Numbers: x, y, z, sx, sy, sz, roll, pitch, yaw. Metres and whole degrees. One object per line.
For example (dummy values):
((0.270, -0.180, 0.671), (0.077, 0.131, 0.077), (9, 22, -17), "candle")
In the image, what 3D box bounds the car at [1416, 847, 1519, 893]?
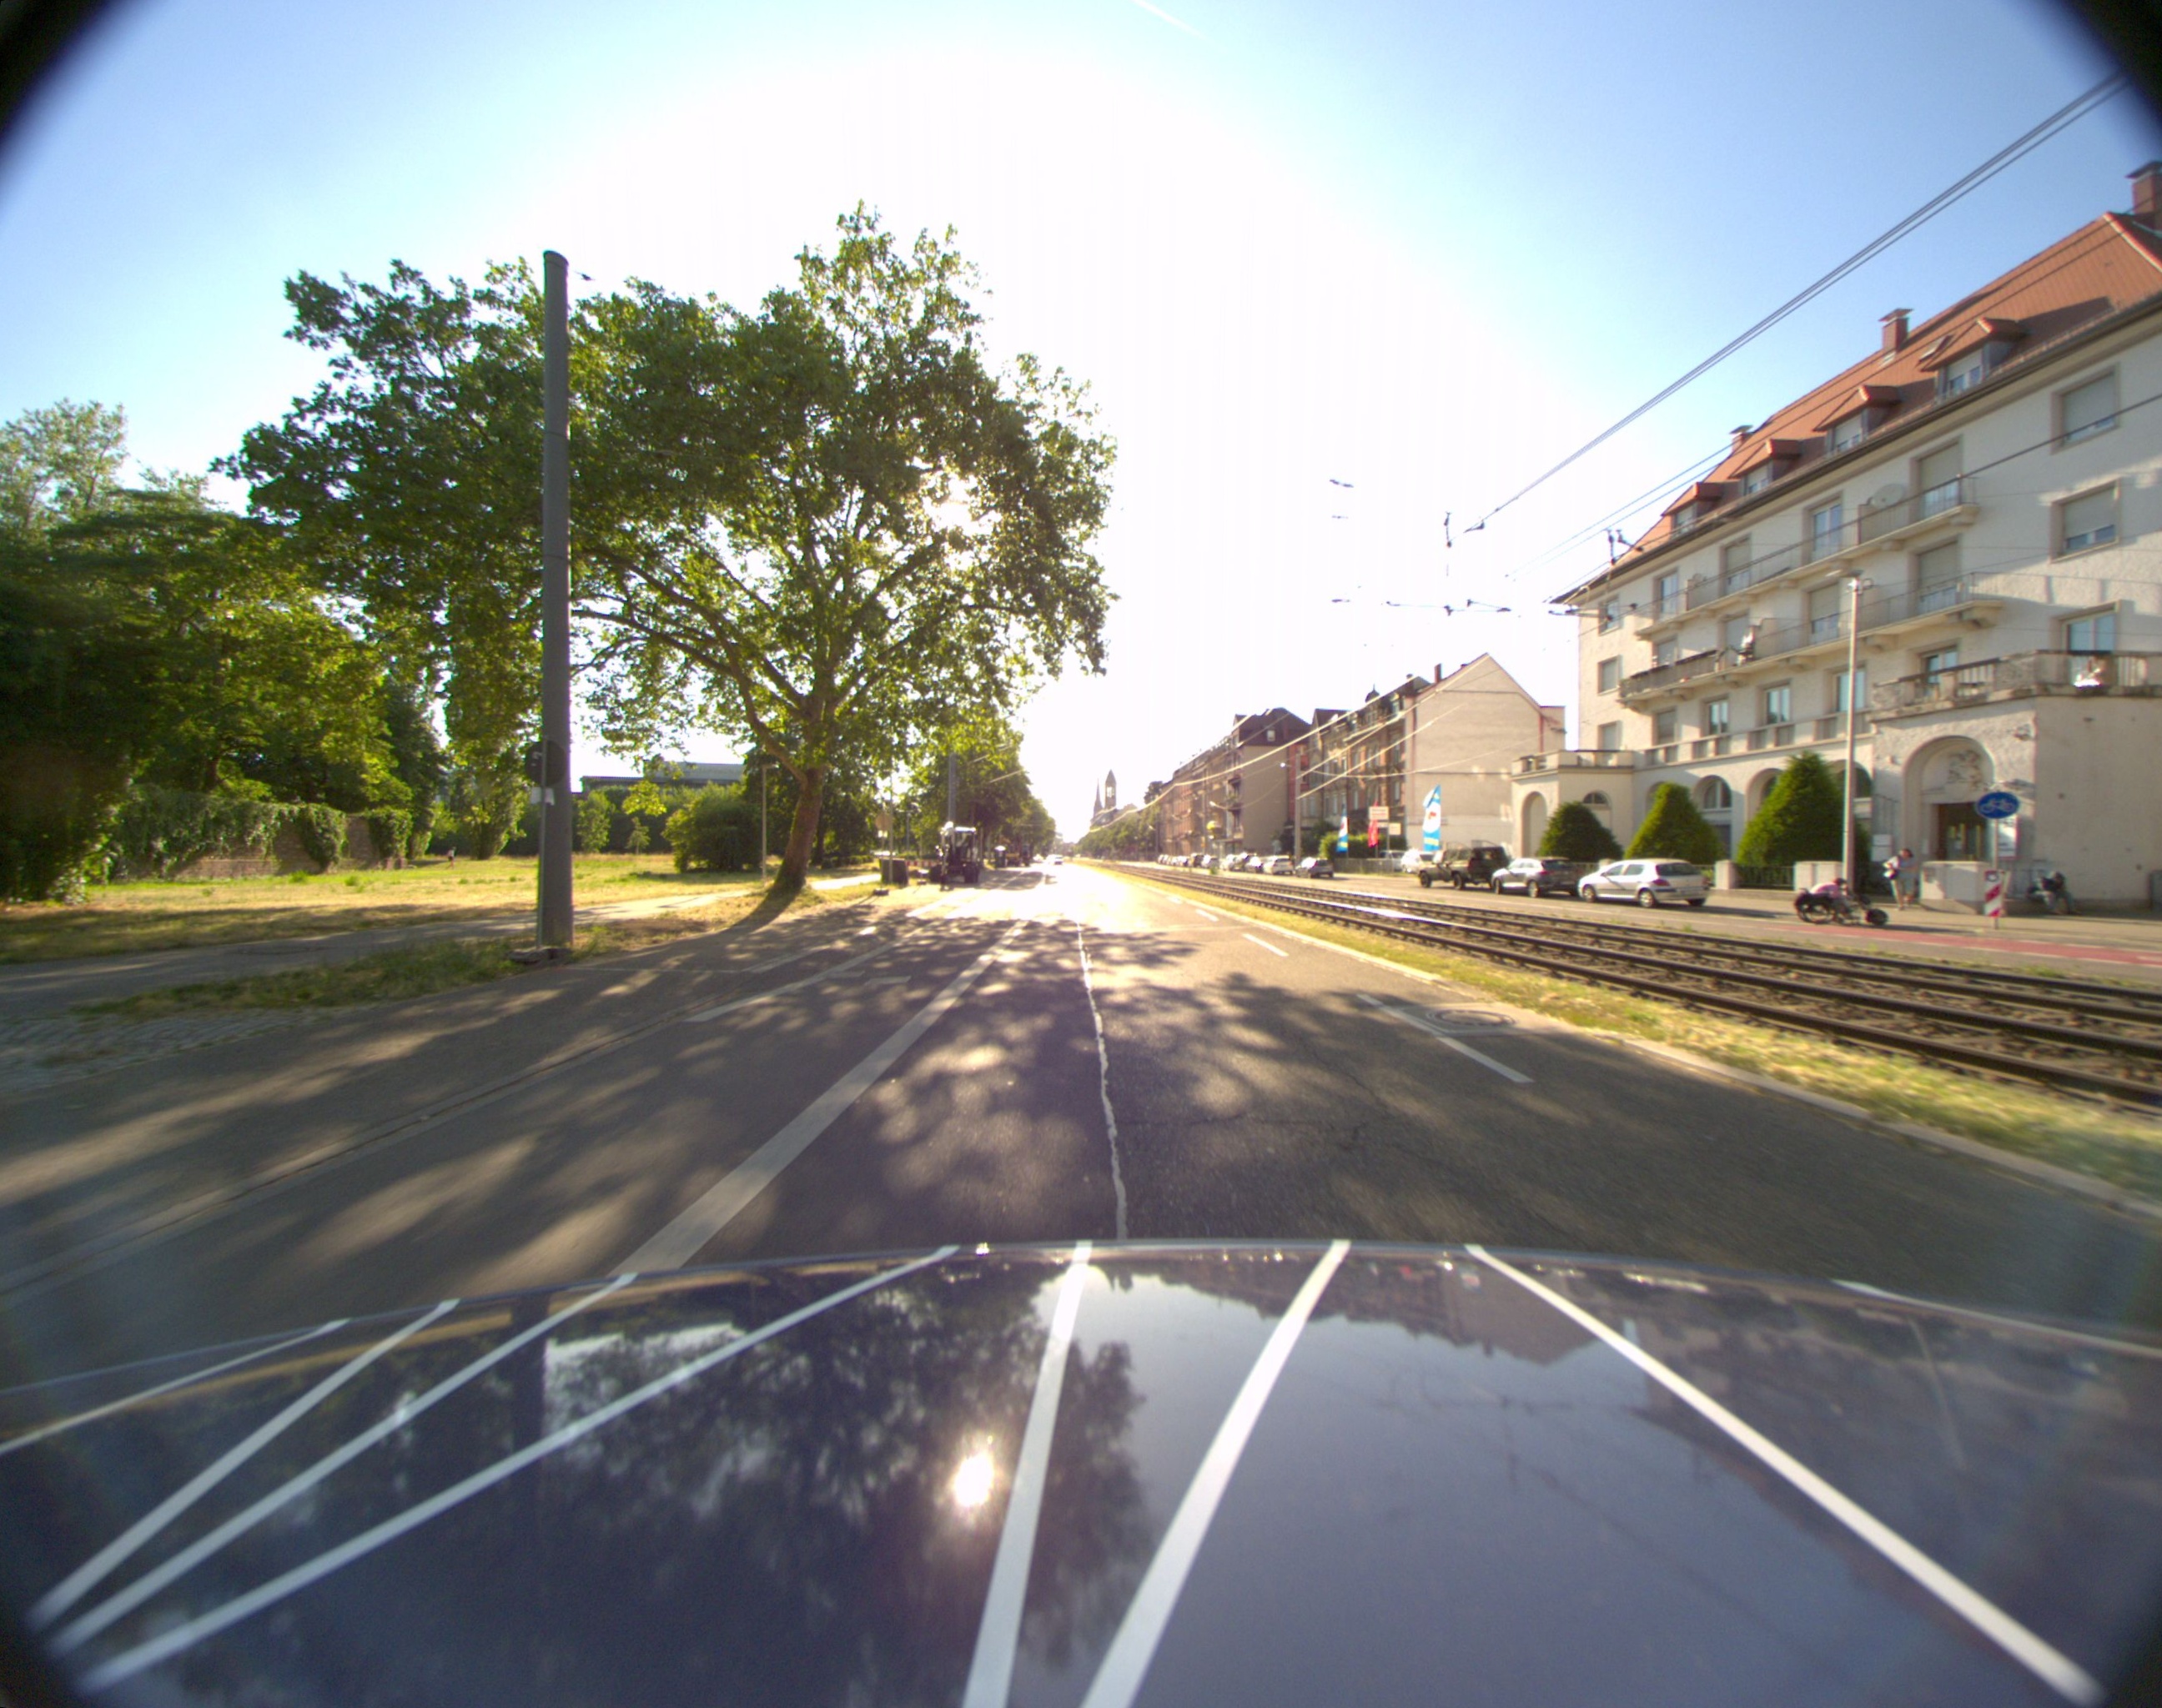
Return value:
((18.452, 0.700, 36.681), (2.082, 1.998, 5.591), (-1, 0, 0), "car")

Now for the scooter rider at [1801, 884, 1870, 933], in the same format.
((18.013, 1.278, 18.165), (0.976, 1.082, 0.810), (1, 0, 29), "scooter rider")

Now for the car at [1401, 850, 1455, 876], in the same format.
((24.849, 0.614, 54.587), (1.908, 1.646, 4.561), (1, 2, 2), "car")

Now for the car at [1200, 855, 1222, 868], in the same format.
((16.287, 0.904, 95.336), (1.926, 1.529, 4.626), (0, 0, -2), "car")

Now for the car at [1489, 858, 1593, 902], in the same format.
((18.251, 0.988, 30.372), (1.639, 1.498, 4.158), (-1, 1, 0), "car")

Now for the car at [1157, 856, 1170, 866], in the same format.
((14.469, 1.270, 132.809), (1.799, 1.633, 4.630), (-1, 0, 0), "car")

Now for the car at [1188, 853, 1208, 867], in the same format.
((15.671, 0.821, 101.793), (1.664, 1.797, 4.727), (-1, 0, -4), "car")

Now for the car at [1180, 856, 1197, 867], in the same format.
((15.148, 1.083, 107.440), (1.664, 1.437, 3.980), (-1, 0, -2), "car")

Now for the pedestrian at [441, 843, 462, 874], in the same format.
((-41.997, 0.293, 50.718), (0.868, 2.002, 1.266), (-2, 2, -33), "pedestrian")

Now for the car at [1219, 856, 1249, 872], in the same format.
((16.475, 1.111, 82.037), (1.926, 1.673, 4.626), (0, -2, -5), "car")

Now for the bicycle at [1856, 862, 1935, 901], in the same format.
((24.396, 0.805, 22.800), (0.465, 1.081, 1.623), (-2, 1, -10), "bicycle")

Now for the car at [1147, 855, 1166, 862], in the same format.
((17.529, 1.096, 175.689), (3.991, 1.502, 1.802), (-1, 1, 19), "car")

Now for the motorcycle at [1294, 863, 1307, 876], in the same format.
((17.539, 1.257, 60.853), (0.827, 0.948, 2.153), (-1, 1, 12), "motorcycle")

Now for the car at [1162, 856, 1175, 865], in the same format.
((14.696, 1.141, 128.019), (1.664, 1.437, 3.764), (-1, 0, -2), "car")

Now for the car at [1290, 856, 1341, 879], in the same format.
((17.274, 0.983, 56.161), (1.926, 1.452, 4.840), (-5, 0, -4), "car")

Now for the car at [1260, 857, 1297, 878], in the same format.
((16.967, 1.134, 65.482), (1.925, 1.684, 4.842), (-1, 0, 0), "car")

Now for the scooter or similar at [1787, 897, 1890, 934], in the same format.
((18.047, 1.455, 18.149), (1.565, 0.766, 0.810), (1, 0, 29), "scooter or similar")

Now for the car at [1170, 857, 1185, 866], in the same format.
((14.962, 1.155, 118.027), (1.664, 1.437, 3.980), (-1, 0, -2), "car")

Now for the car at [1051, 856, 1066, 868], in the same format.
((-3.003, 1.045, 100.585), (1.799, 1.501, 3.999), (-1, 0, -2), "car")

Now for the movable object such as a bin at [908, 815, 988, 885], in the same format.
((-6.670, -0.157, 39.211), (2.751, 3.127, 7.218), (4, 0, -1), "movable object such as a bin")

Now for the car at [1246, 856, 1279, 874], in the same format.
((16.948, 1.010, 71.048), (1.925, 1.551, 4.842), (-1, 0, 0), "car")

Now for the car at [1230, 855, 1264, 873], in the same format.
((16.818, 0.992, 77.185), (1.926, 1.770, 4.495), (-1, 0, -6), "car")

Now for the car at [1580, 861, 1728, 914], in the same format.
((18.536, 1.024, 24.839), (1.799, 1.501, 3.999), (-1, 1, -1), "car")

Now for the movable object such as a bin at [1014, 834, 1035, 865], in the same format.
((-8.823, -0.689, 118.567), (2.923, 4.583, 7.595), (3, 0, -4), "movable object such as a bin")

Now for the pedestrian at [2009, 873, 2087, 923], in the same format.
((24.230, 1.090, 19.061), (0.879, 1.180, 0.894), (-2, 1, -10), "pedestrian")

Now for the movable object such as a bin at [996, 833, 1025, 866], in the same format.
((-9.085, -0.559, 98.626), (3.348, 3.953, 7.595), (3, 0, -4), "movable object such as a bin")

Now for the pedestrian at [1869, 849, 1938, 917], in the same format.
((22.310, 0.769, 20.624), (0.995, 1.767, 0.934), (-2, 1, -17), "pedestrian")

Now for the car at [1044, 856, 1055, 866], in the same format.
((-5.152, 1.128, 124.443), (1.799, 1.501, 3.999), (-1, 0, -2), "car")

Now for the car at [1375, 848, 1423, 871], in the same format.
((25.274, 0.433, 60.580), (1.908, 1.646, 4.561), (1, 2, 2), "car")
